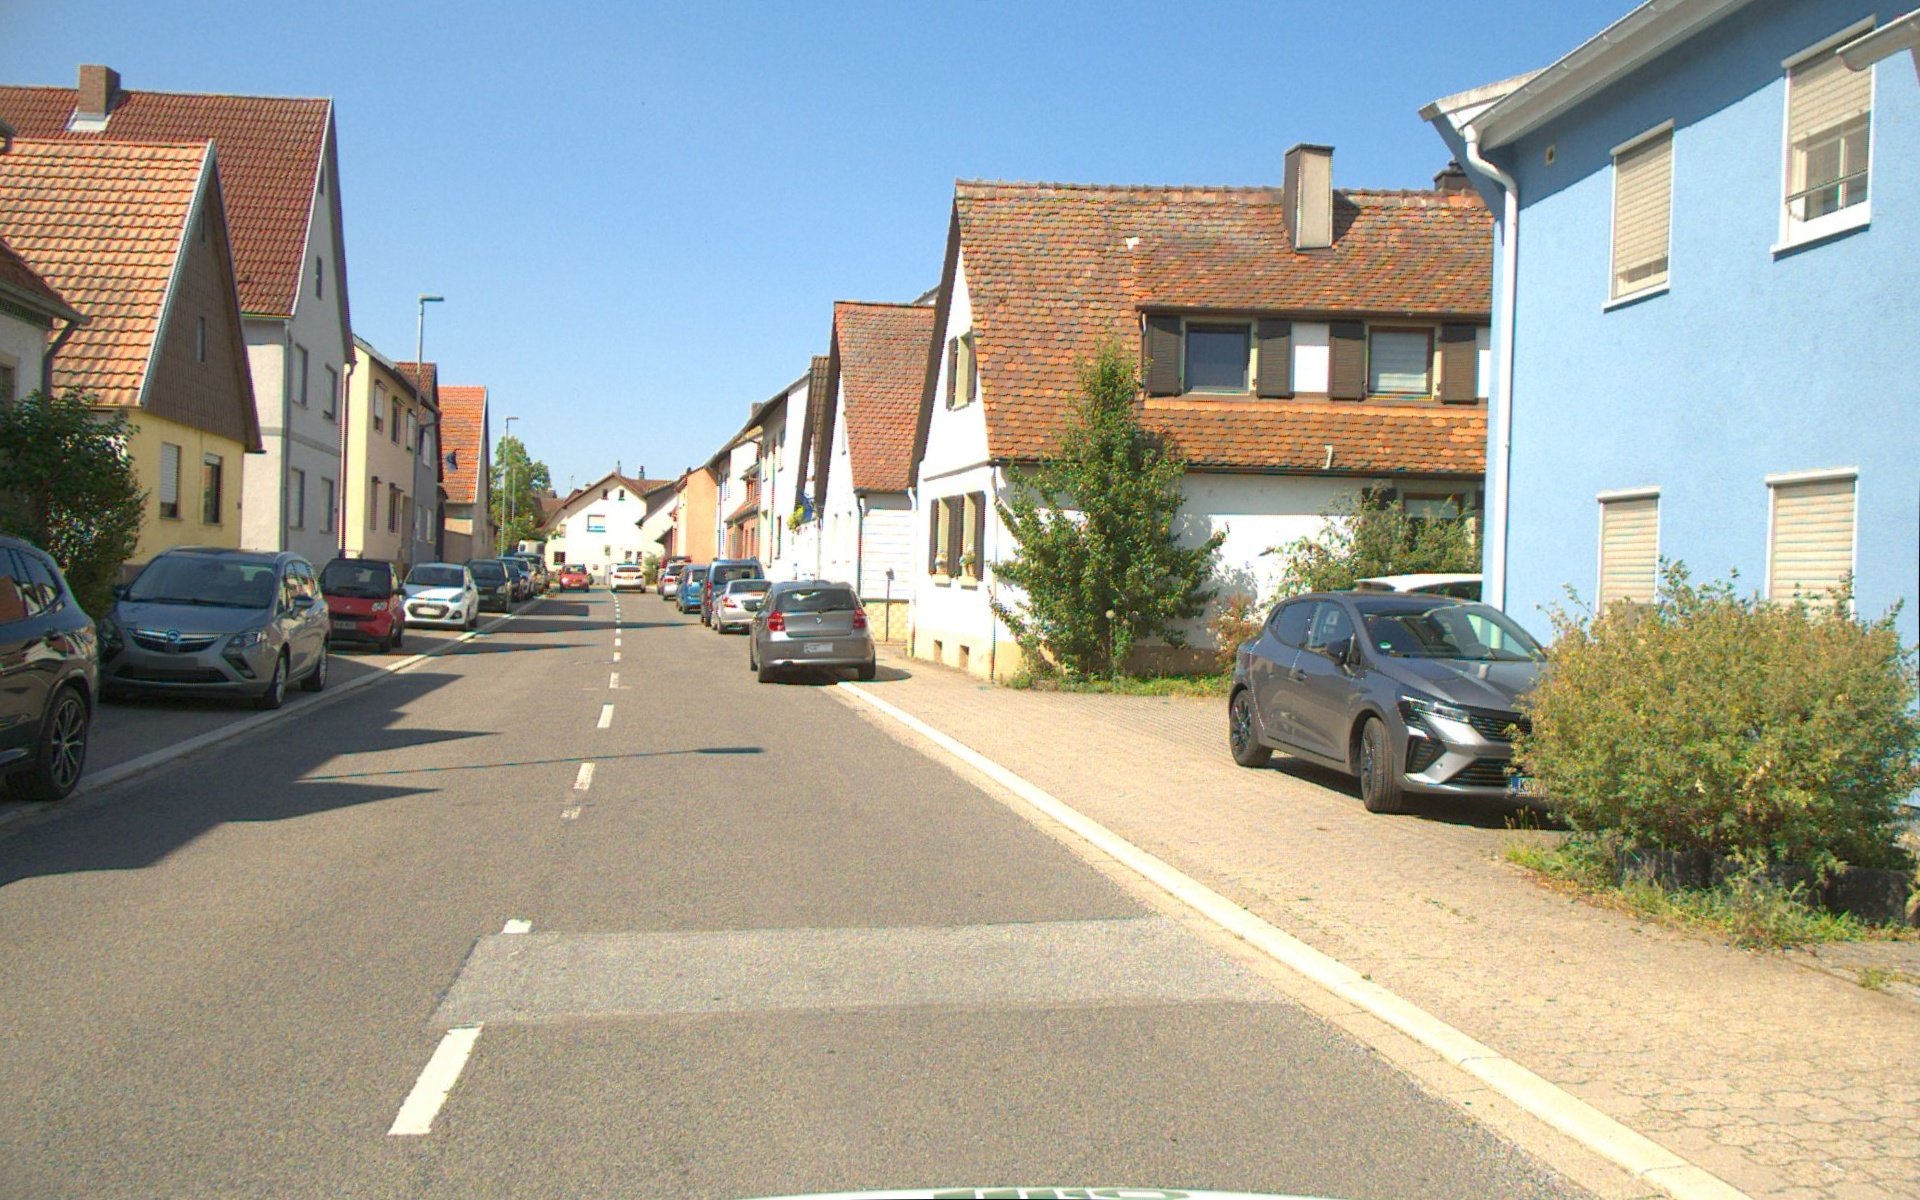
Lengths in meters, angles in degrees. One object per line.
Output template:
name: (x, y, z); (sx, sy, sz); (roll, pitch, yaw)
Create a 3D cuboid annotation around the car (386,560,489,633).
car: (-12.447, -0.103, 39.646); (1.774, 1.574, 4.392); (2, 0, -11)

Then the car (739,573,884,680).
car: (-2.294, 0.341, 24.756); (1.675, 1.458, 3.877); (1, 1, -12)

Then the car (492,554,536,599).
car: (-18.450, -0.971, 68.555); (1.501, 1.743, 3.614); (2, 0, -12)

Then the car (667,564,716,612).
car: (-9.210, -0.413, 56.586); (1.396, 1.541, 3.294); (2, 0, -12)

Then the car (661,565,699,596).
car: (-13.870, -0.954, 81.767); (1.735, 1.458, 3.440); (1, 0, -11)

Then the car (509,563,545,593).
car: (-21.267, -1.064, 81.264); (1.501, 1.379, 3.614); (2, 0, -12)

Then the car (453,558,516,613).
car: (-15.019, -0.479, 52.420); (1.591, 1.605, 3.949); (2, 0, -12)

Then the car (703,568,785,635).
car: (-5.398, 0.026, 41.026); (1.675, 1.522, 3.442); (2, 0, -12)

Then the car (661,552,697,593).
car: (-14.808, -1.433, 86.990); (1.735, 2.039, 3.440); (1, 0, -11)

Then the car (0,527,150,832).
car: (-6.217, 0.386, 8.972); (1.885, 1.696, 4.655); (4, 0, -9)

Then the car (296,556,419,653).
car: (-10.661, 0.058, 29.441); (1.525, 1.571, 2.980); (2, 0, -11)

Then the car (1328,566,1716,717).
car: (6.758, 0.486, 20.125); (4.094, 1.686, 1.810); (1, 0, -6)

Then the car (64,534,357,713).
car: (-8.084, 0.204, 18.322); (1.839, 1.665, 4.652); (2, 0, -11)

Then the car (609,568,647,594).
car: (-18.218, -1.036, 90.605); (1.958, 1.310, 3.988); (1, 0, -12)

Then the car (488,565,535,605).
car: (-17.410, -0.590, 64.292); (1.477, 1.478, 3.499); (1, 0, -11)

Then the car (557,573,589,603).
car: (-20.882, -0.671, 89.408); (1.573, 1.515, 3.614); (2, 0, -12)

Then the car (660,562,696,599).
car: (-12.608, -0.862, 73.918); (1.396, 1.541, 3.294); (2, 0, -12)

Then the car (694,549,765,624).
car: (-6.452, -0.379, 46.074); (1.620, 1.943, 3.614); (2, 0, -12)

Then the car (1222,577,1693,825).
car: (3.333, 0.602, 11.984); (1.658, 1.444, 4.138); (2, 0, -8)
